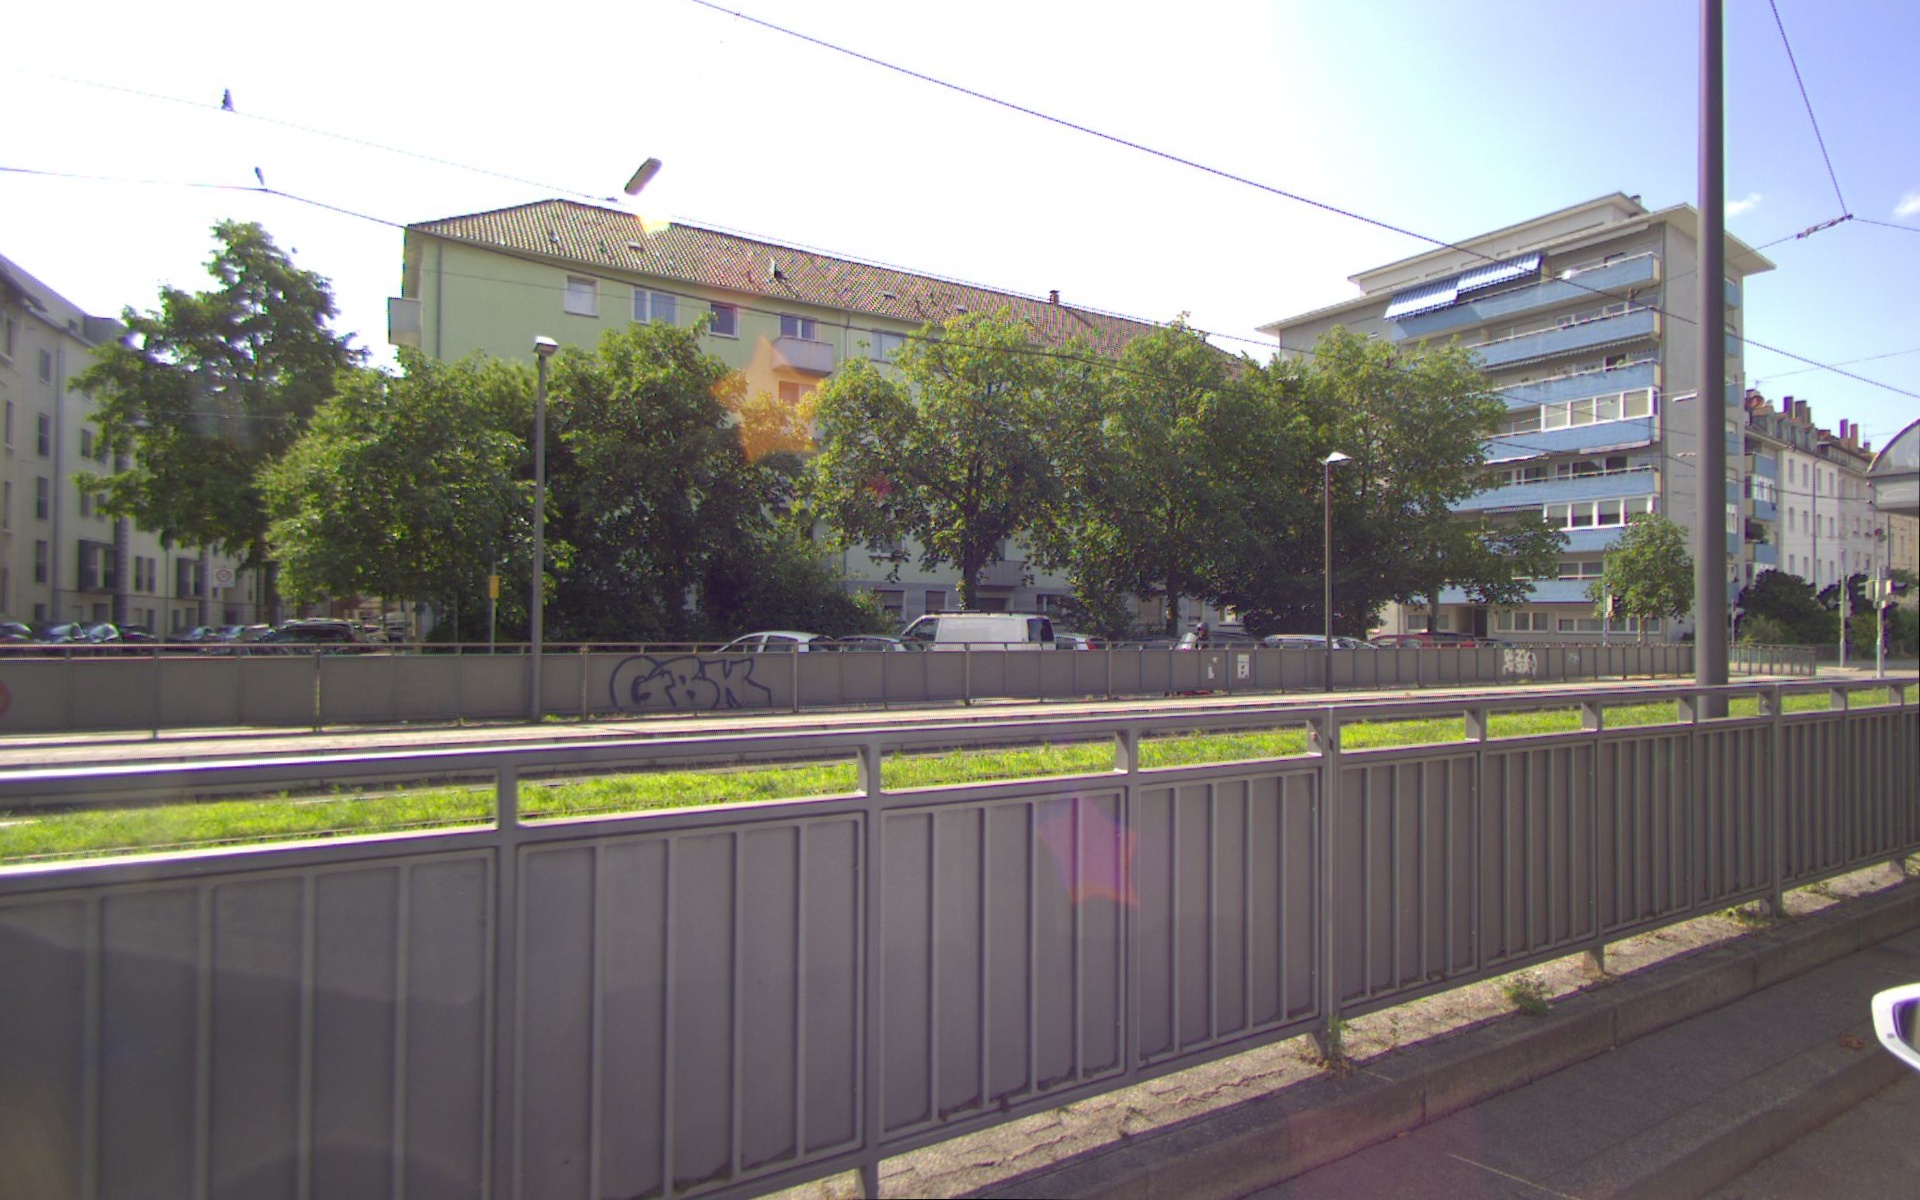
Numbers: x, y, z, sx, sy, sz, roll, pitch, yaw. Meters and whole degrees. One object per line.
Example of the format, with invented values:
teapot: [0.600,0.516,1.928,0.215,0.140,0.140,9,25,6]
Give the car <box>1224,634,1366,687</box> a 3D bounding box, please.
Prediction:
car: [10.356,1.827,31.115,3.957,1.534,1.606,-1,-2,30]

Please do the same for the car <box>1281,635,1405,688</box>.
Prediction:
car: [12.437,1.950,32.656,3.601,1.600,1.646,-1,-2,29]

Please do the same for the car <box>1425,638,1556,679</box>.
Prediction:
car: [19.334,2.099,36.788,4.054,1.412,1.609,0,-2,21]

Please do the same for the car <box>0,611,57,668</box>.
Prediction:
car: [-32.875,1.366,34.568,1.802,1.855,3.969,2,-3,-30]

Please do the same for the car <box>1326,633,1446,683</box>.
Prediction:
car: [14.451,1.916,34.074,3.601,1.600,1.646,-1,-2,29]

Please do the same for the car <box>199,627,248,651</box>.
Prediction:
car: [-47.608,2.546,65.025,1.799,1.498,3.976,2,-3,-25]

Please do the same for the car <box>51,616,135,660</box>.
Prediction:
car: [-38.209,1.710,44.357,1.800,1.855,3.974,2,-3,-26]

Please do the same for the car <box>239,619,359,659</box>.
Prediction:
car: [-28.658,1.697,43.677,1.837,1.639,3.998,-1,-2,23]

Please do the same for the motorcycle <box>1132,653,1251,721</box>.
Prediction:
motorcycle: [4.987,1.826,21.559,2.487,1.357,1.010,1,-2,-30]

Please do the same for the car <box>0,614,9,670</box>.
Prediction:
car: [-30.330,1.239,30.023,1.802,1.755,3.969,2,-3,-30]

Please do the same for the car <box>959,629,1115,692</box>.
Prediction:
car: [2.075,1.586,27.298,3.879,1.600,1.717,-1,-2,28]

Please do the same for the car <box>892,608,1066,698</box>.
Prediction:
car: [0.479,1.279,25.294,3.880,2.097,2.047,-1,-2,29]

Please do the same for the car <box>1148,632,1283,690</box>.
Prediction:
car: [7.550,1.768,29.735,3.601,1.600,1.646,-1,-2,29]

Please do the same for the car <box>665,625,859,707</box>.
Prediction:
car: [-4.430,1.414,22.503,3.923,1.662,1.826,0,0,23]

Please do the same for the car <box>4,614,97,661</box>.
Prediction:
car: [-35.426,1.499,39.255,1.802,1.740,3.969,2,-3,-30]

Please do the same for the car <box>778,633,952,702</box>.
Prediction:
car: [-2.289,1.567,24.122,3.926,1.505,1.608,-1,-2,27]

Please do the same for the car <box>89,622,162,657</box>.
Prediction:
car: [-40.521,1.935,48.847,1.800,1.623,3.974,2,-3,-26]

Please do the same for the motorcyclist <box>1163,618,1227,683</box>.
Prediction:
motorcyclist: [5.054,1.084,21.654,0.975,1.357,0.934,1,-2,-30]

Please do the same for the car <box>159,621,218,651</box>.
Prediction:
car: [-44.485,2.130,58.005,1.799,1.648,3.976,2,-3,-25]

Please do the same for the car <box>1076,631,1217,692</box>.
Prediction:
car: [5.239,1.681,28.265,3.601,1.600,1.646,-1,-2,29]
